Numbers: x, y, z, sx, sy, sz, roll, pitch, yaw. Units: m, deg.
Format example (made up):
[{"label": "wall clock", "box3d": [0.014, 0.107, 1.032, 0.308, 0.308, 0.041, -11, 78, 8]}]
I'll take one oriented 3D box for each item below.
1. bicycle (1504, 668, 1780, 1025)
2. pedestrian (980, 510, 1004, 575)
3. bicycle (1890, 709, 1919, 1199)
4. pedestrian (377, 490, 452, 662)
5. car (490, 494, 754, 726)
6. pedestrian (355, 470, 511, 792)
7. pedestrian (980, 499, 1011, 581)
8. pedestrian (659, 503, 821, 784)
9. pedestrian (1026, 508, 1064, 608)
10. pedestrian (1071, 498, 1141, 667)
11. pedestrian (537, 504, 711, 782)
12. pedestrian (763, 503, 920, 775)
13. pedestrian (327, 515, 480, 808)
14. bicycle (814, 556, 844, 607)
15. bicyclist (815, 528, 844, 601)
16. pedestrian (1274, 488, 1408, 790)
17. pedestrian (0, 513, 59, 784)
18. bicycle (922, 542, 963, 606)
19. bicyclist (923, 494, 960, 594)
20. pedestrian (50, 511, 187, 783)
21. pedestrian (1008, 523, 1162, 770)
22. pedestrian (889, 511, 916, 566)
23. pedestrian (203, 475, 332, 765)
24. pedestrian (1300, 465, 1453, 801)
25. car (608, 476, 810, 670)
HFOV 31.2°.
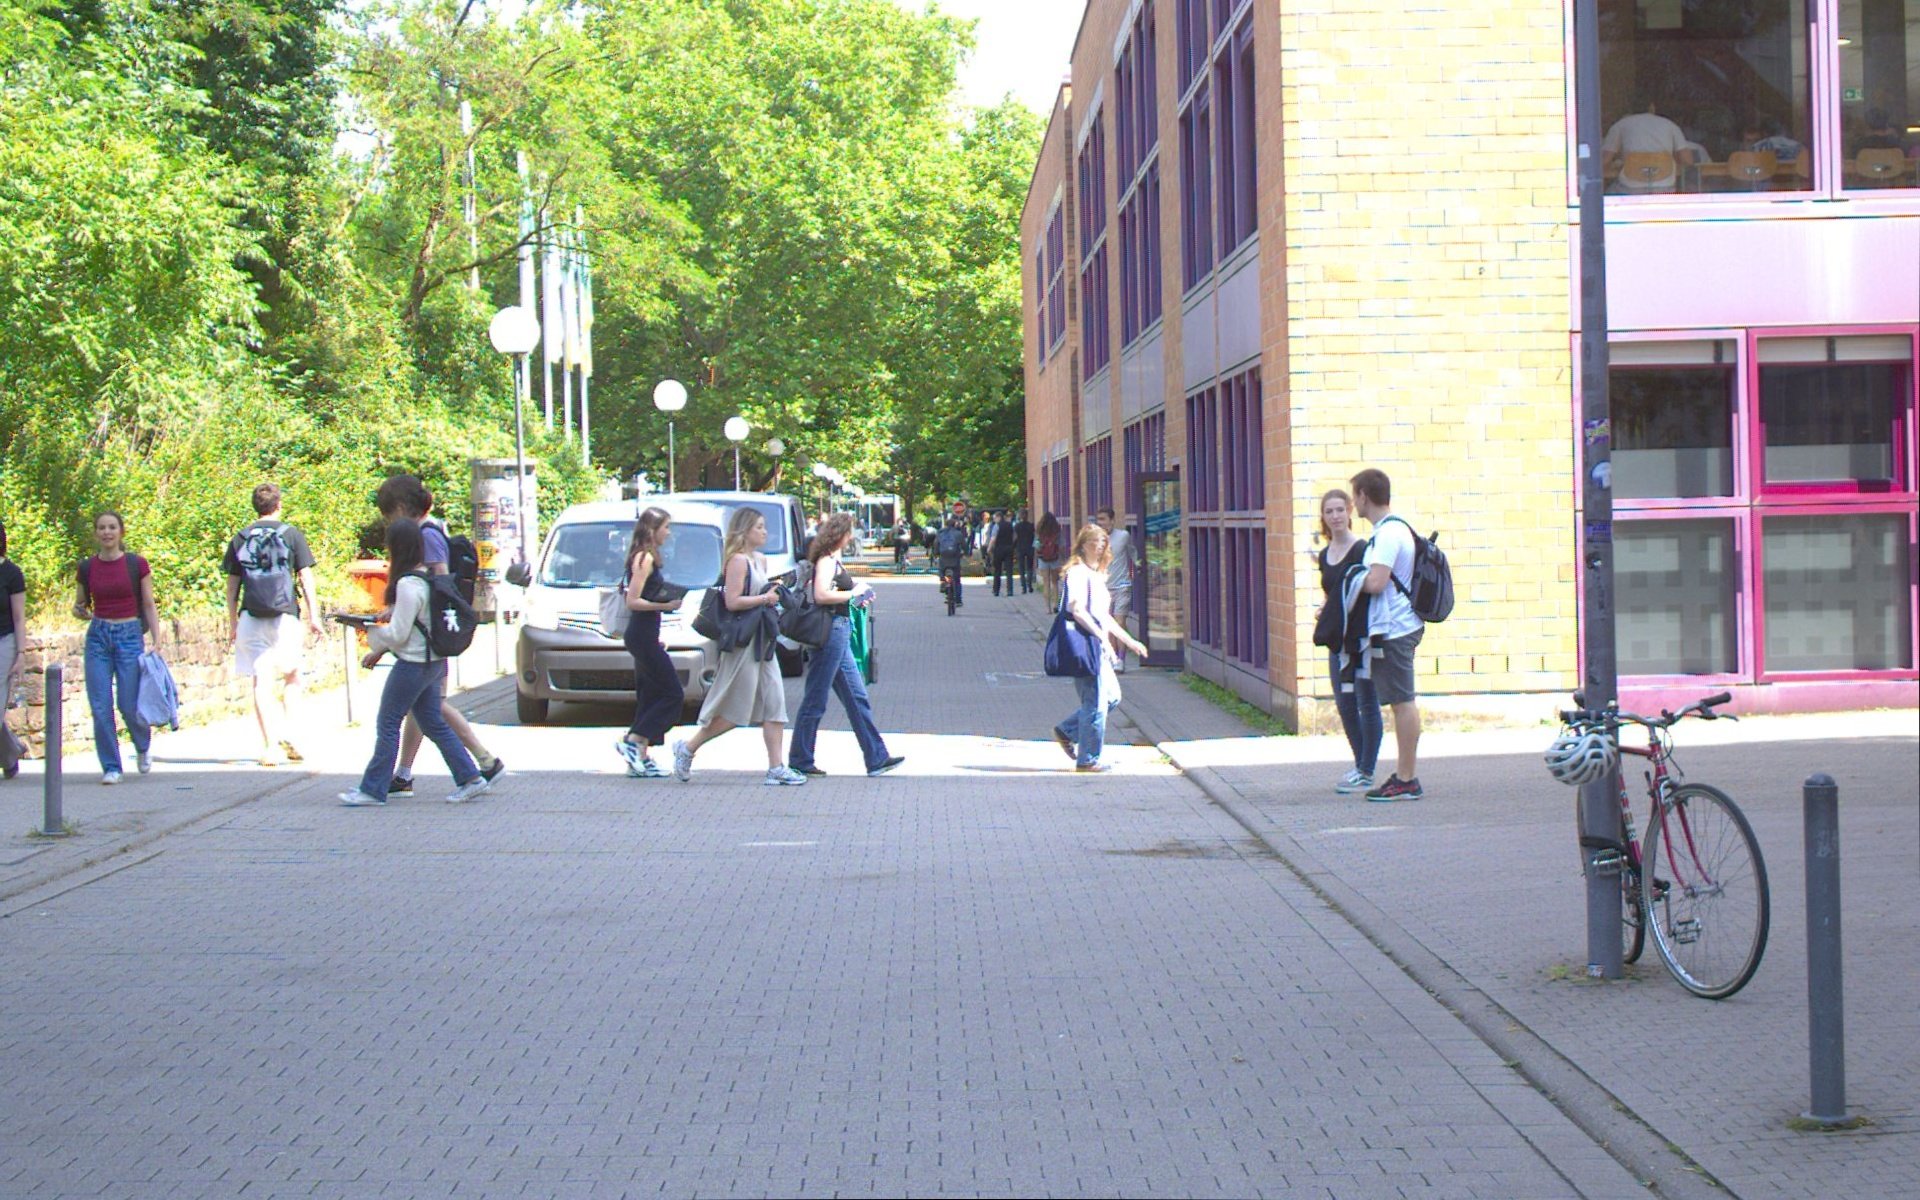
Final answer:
[{"label": "bicycle", "box3d": [2.142, 0.741, 10.971, 0.450, 0.958, 1.740, -3, 1, -1]}, {"label": "pedestrian", "box3d": [0.946, -1.706, 102.542, 0.653, 1.916, 0.817, -2, 0, 1]}, {"label": "bicycle", "box3d": [2.067, 0.758, 5.395, 0.708, 1.089, 1.749, 0, 1, -1]}, {"label": "pedestrian", "box3d": [-5.872, -0.259, 37.030, 0.682, 1.838, 0.783, 0, 0, 0]}, {"label": "car", "box3d": [-2.740, 0.025, 28.753, 1.790, 1.755, 4.482, -1, 1, -1]}, {"label": "pedestrian", "box3d": [-3.053, 0.177, 19.971, 0.825, 1.838, 0.685, 0, 0, -3]}, {"label": "pedestrian", "box3d": [0.741, -1.251, 71.907, 0.586, 1.667, 0.817, -2, 0, 1]}, {"label": "pedestrian", "box3d": [-1.323, 0.257, 20.735, 0.886, 1.667, 0.559, 0, 0, 7]}, {"label": "pedestrian", "box3d": [1.440, -0.715, 58.251, 0.586, 1.667, 0.699, -2, 0, 1]}, {"label": "pedestrian", "box3d": [1.518, -0.182, 35.776, 0.682, 1.741, 0.783, 0, 0, 0]}, {"label": "pedestrian", "box3d": [-2.087, 0.260, 21.409, 0.886, 1.666, 0.643, -2, 2, 7]}, {"label": "pedestrian", "box3d": [-0.751, 0.240, 21.566, 0.929, 1.667, 0.588, -1, 0, -4]}, {"label": "pedestrian", "box3d": [-3.114, 0.337, 19.289, 0.780, 1.615, 0.685, 0, 0, -3]}, {"label": "bicycle", "box3d": [-2.822, -0.403, 74.106, 0.587, 1.080, 1.814, 0, 1, -4]}, {"label": "bicyclist", "box3d": [-2.810, -0.771, 74.068, 0.587, 1.567, 0.829, 0, 1, -4]}, {"label": "pedestrian", "box3d": [2.162, 0.216, 19.479, 0.697, 1.667, 0.588, -2, 0, 7]}, {"label": "pedestrian", "box3d": [-5.912, 0.286, 20.906, 0.682, 1.615, 0.979, 0, 0, -5]}, {"label": "bicycle", "box3d": [-0.309, -0.453, 59.238, 0.587, 1.080, 1.908, 0, 1, -4]}, {"label": "bicyclist", "box3d": [-0.315, -0.959, 59.243, 0.587, 1.710, 0.665, 0, 1, -4]}, {"label": "pedestrian", "box3d": [-5.103, 0.278, 20.884, 0.682, 1.615, 0.914, 0, 0, -5]}, {"label": "pedestrian", "box3d": [0.810, 0.286, 22.091, 0.886, 1.537, 0.743, -2, 1, 7]}, {"label": "pedestrian", "box3d": [-1.755, -1.869, 104.875, 0.725, 1.667, 0.748, -2, 0, 1]}, {"label": "pedestrian", "box3d": [-4.464, 0.127, 22.187, 0.682, 1.838, 0.783, 0, 0, 0]}, {"label": "pedestrian", "box3d": [2.280, 0.179, 18.832, 0.767, 1.788, 0.588, -2, 0, 7]}, {"label": "car", "box3d": [-2.683, -0.338, 37.837, 1.883, 1.967, 5.215, 0, 1, -1]}]
